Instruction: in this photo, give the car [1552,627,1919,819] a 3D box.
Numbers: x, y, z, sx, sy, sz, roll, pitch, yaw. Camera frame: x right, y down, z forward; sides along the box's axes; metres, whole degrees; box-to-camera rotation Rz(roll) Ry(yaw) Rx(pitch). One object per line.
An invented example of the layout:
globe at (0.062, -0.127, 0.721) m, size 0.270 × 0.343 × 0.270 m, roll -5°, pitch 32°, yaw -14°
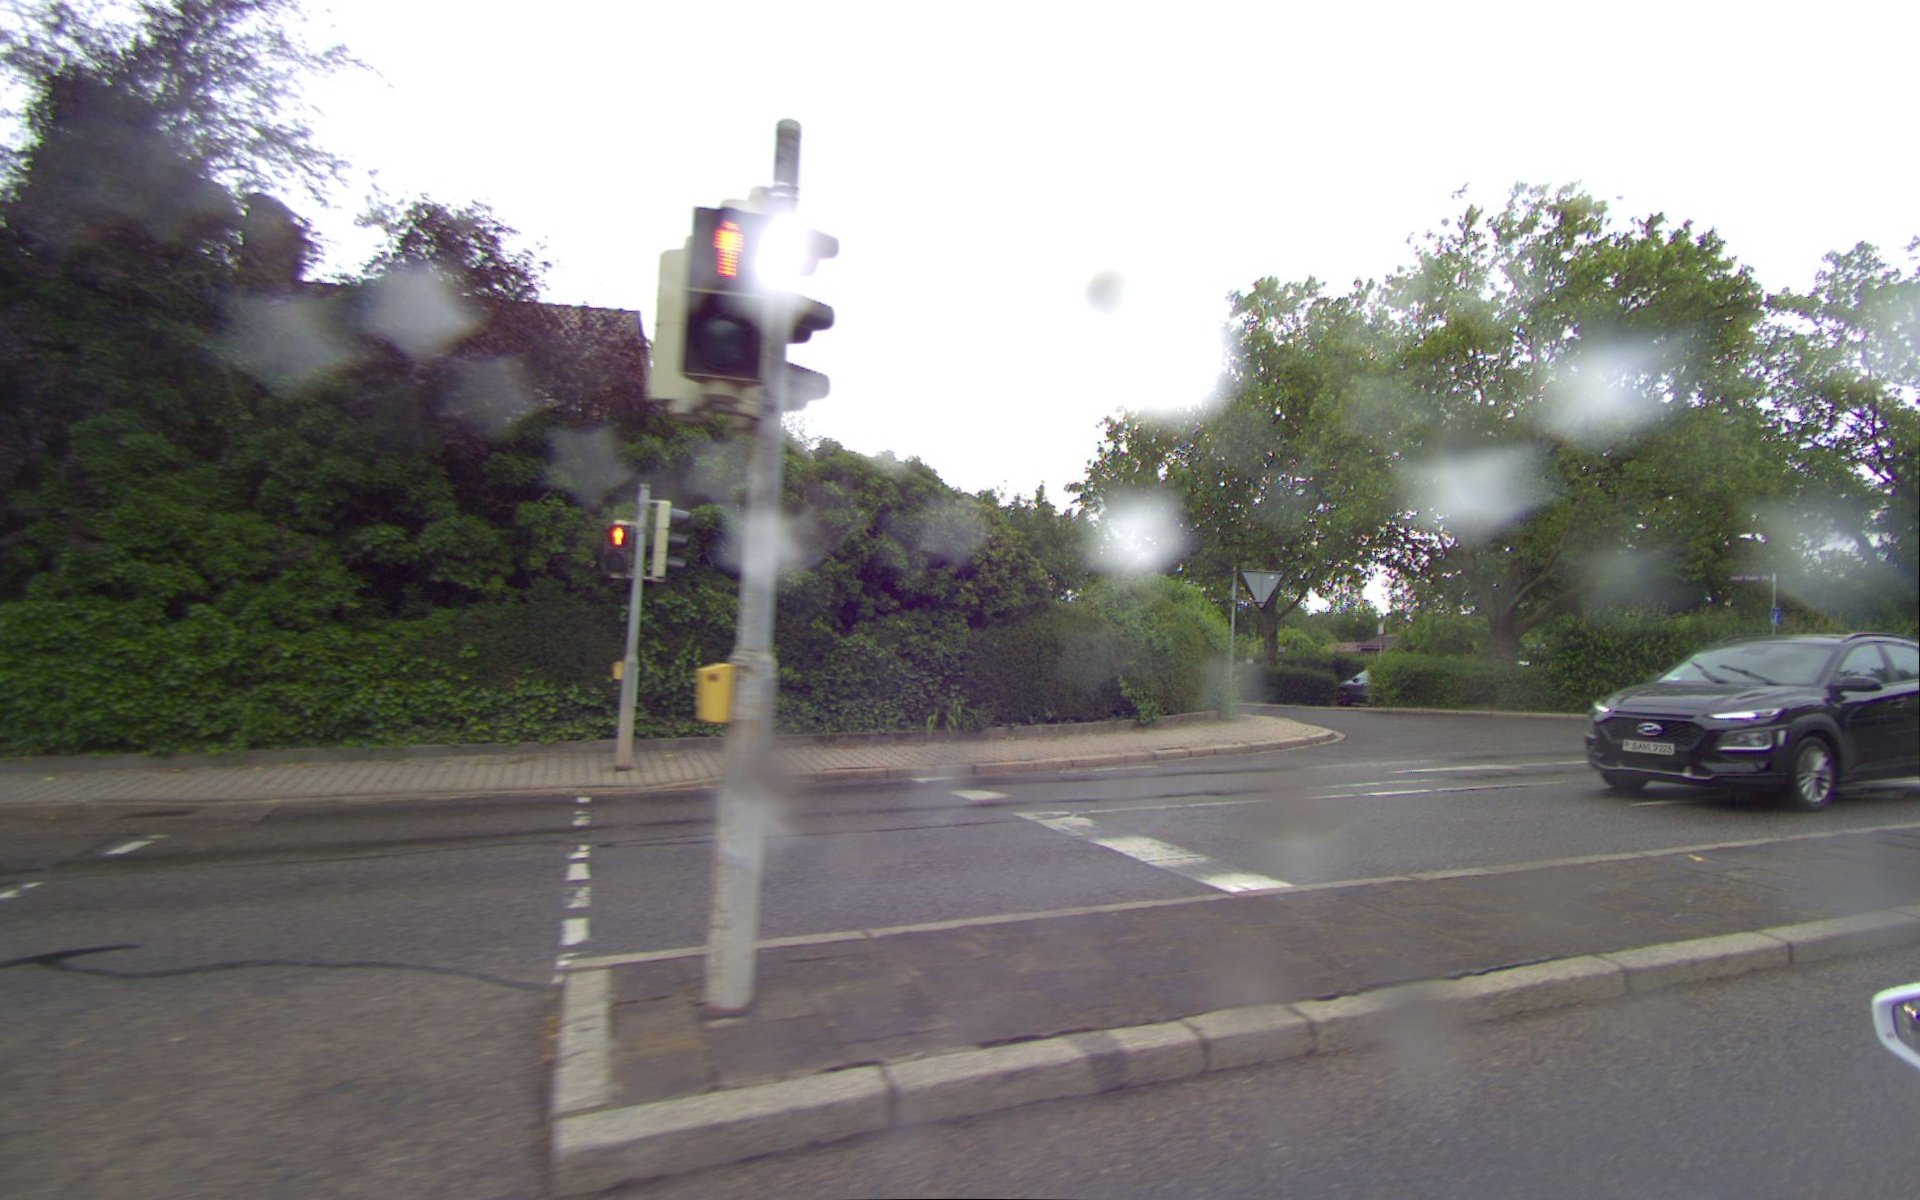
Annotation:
car at (8.167, 1.098, 9.972) m, size 3.820 × 1.583 × 2.022 m, roll 1°, pitch -3°, yaw -22°
